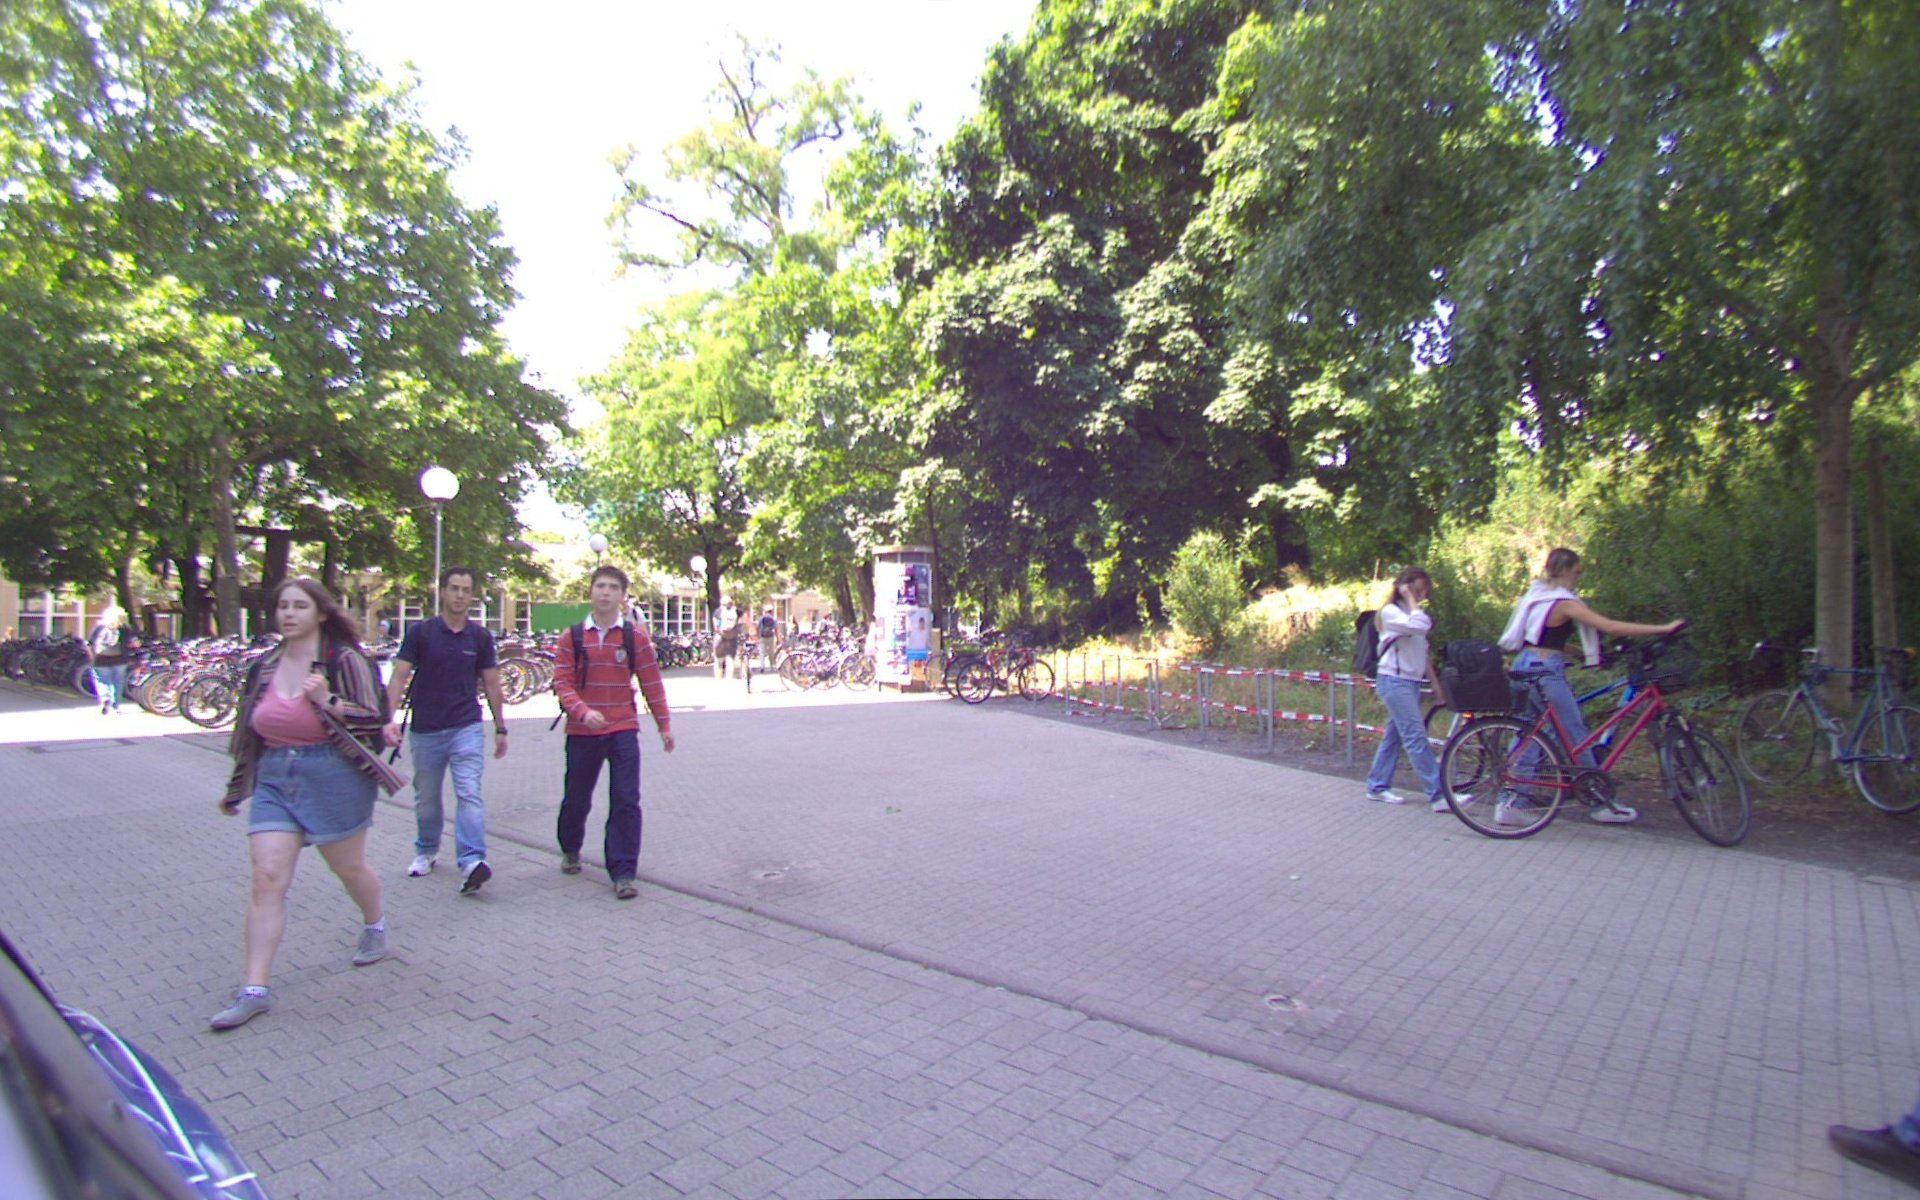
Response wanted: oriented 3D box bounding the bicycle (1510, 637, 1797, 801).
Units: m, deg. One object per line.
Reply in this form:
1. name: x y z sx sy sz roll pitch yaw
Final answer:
1. bicycle: 4.882 0.826 7.175 1.675 1.055 0.474 -2 0 0

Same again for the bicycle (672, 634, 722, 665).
1. bicycle: -9.379 1.759 36.106 1.676 1.092 0.474 -1 -1 2

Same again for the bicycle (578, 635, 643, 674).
1. bicycle: -9.955 1.549 28.837 1.676 1.092 0.474 -1 -1 2

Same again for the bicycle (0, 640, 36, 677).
1. bicycle: -29.680 1.808 31.259 0.496 1.116 1.608 -4 -4 40

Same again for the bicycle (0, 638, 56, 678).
1. bicycle: -27.368 1.674 29.419 0.506 1.116 1.606 -2 -2 45

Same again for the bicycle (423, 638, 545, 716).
1. bicycle: -7.414 1.173 15.806 1.672 1.118 0.475 0 -1 -37

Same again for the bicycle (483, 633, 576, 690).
1. bicycle: -8.692 1.233 20.485 1.671 1.092 0.475 0 -1 -11

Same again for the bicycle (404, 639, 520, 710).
1. bicycle: -8.157 1.203 16.606 1.670 1.092 0.475 0 -1 -30

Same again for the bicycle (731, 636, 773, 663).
1. bicycle: -8.572 2.046 41.725 1.682 1.092 0.472 -1 -1 12

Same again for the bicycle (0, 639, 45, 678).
1. bicycle: -27.911 1.720 29.657 0.630 1.116 1.606 -2 -2 44

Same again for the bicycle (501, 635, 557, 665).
1. bicycle: -16.250 1.885 38.173 1.983 1.116 0.501 -1 -1 11

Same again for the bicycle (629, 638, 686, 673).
1. bicycle: -9.684 1.762 32.397 1.676 1.092 0.474 -1 -1 2

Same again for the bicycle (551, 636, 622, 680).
1. bicycle: -9.510 1.468 25.809 1.671 1.092 0.475 0 -1 -14

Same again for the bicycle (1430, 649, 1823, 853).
1. bicycle: 3.806 0.847 5.860 1.882 1.055 0.542 -1 0 0

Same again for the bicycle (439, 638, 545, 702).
1. bicycle: -8.412 1.246 18.218 1.672 1.092 0.475 0 -1 -8

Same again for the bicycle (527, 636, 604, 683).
1. bicycle: -9.386 1.407 24.118 1.671 1.092 0.475 0 -1 -14

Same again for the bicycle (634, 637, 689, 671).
1. bicycle: -9.703 1.759 32.917 1.676 1.092 0.474 -1 -1 2

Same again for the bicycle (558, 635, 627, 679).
1. bicycle: -9.567 1.485 26.398 1.671 1.092 0.475 0 -1 -14

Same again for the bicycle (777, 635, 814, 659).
1. bicycle: -7.676 2.210 47.197 1.682 1.092 0.472 -1 -1 12

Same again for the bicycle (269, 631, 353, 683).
1. bicycle: -15.621 1.361 24.384 1.676 1.209 0.575 -1 -1 1

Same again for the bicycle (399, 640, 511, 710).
1. bicycle: -8.479 1.244 17.022 1.670 1.092 0.475 0 -1 -30

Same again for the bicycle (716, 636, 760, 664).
1. bicycle: -8.872 2.014 40.513 1.682 1.092 0.472 -1 -1 12

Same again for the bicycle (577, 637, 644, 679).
1. bicycle: -9.568 1.581 27.703 1.673 1.092 0.475 0 -1 -7

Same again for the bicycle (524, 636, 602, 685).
1. bicycle: -9.257 1.394 23.642 1.671 1.092 0.475 0 -1 -14

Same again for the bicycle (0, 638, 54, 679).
1. bicycle: -27.027 1.679 28.975 0.497 1.116 1.606 -2 -2 45

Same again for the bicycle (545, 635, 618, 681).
1. bicycle: -9.434 1.444 25.286 1.671 1.092 0.475 0 -1 -14

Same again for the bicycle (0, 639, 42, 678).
1. bicycle: -28.339 1.737 30.022 0.497 1.116 1.606 -2 -2 45

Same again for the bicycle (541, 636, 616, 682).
1. bicycle: -9.329 1.430 24.769 1.671 1.092 0.475 0 -1 -14

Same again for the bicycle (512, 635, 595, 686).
1. bicycle: -9.041 1.342 22.539 1.671 1.092 0.475 0 -1 -14

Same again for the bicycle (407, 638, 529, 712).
1. bicycle: -7.842 1.177 16.171 1.695 1.092 0.475 0 -1 -35

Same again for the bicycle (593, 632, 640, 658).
1. bicycle: -15.133 1.985 44.633 2.010 1.116 0.500 -1 -1 14

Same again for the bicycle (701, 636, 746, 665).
1. bicycle: -9.238 1.975 39.568 1.682 1.092 0.472 -1 -1 12

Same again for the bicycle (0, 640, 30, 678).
1. bicycle: -28.899 1.760 30.241 0.497 1.116 1.606 -2 -2 45

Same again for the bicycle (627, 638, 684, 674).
1. bicycle: -9.596 1.767 31.934 1.676 1.092 0.474 -1 -1 2

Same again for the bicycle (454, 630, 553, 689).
1. bicycle: -8.707 1.121 19.336 1.672 1.092 0.475 0 -1 -8

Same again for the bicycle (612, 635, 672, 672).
1. bicycle: -9.665 1.635 30.773 1.676 1.092 0.474 -1 -1 2

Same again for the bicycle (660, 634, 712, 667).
1. bicycle: -9.498 1.749 35.110 1.676 1.092 0.474 -1 -1 2

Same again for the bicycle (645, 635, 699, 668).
1. bicycle: -9.711 1.737 34.119 1.676 1.092 0.474 -1 -1 2

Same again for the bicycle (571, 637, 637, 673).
1. bicycle: -9.962 1.544 28.347 1.716 0.969 0.452 -1 -1 2

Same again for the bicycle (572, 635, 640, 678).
1. bicycle: -9.496 1.511 27.175 1.673 1.092 0.475 0 -1 -7

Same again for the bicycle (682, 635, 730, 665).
1. bicycle: -9.399 1.852 37.429 1.676 1.092 0.474 -1 -1 2

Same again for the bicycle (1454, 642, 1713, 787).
1. bicycle: 4.773 0.863 7.798 1.675 1.055 0.474 0 -1 0

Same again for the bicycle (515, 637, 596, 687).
1. bicycle: -9.176 1.403 23.010 1.671 1.092 0.475 0 -1 -14

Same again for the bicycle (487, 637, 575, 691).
1. bicycle: -9.115 1.348 21.528 1.671 1.092 0.475 0 -1 -14

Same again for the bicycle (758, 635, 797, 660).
1. bicycle: -8.138 2.131 45.128 1.682 1.092 0.472 -1 -1 12

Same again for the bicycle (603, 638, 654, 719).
1. bicycle: -4.890 1.125 14.993 0.594 1.092 1.704 0 -1 -14
